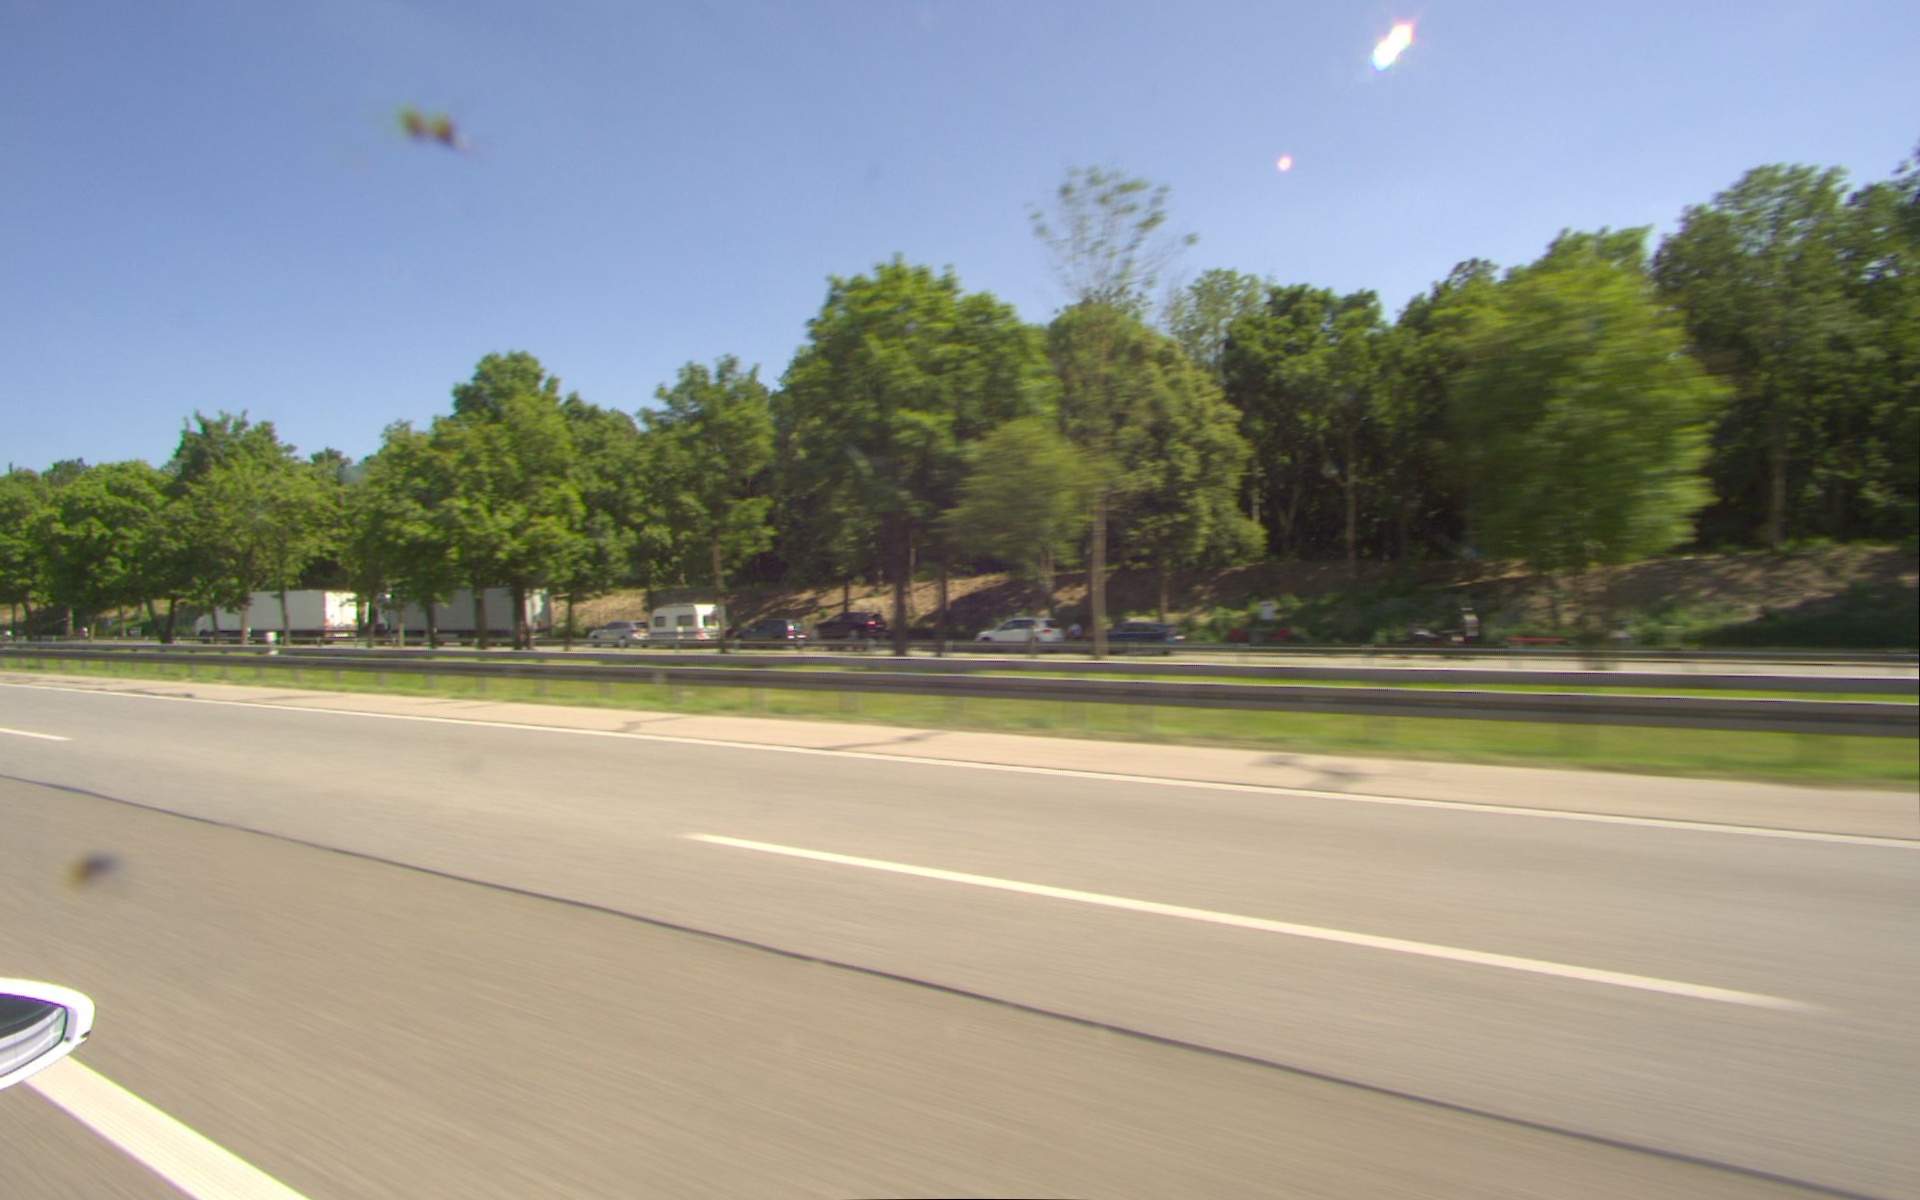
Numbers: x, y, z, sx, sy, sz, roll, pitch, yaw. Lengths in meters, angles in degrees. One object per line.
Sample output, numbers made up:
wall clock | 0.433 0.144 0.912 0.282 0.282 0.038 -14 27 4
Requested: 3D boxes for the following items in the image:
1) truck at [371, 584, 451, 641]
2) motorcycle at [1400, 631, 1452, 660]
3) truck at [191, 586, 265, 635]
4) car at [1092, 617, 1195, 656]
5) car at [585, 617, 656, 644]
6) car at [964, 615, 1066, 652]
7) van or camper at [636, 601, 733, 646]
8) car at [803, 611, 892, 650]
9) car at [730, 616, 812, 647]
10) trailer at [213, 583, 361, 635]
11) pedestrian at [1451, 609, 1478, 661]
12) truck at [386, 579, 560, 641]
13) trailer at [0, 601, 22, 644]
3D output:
truck | -39.691 0.920 72.431 4.758 3.982 2.968 -1 0 28
motorcycle | 17.210 1.676 37.008 1.652 1.044 0.556 0 0 38
truck | -59.609 0.870 81.585 5.062 3.846 2.809 -1 -1 25
car | 7.882 1.536 43.236 3.954 1.594 1.984 -1 -1 41
car | -20.926 1.886 61.607 4.489 1.618 1.653 -1 -1 32
car | 2.570 1.559 47.056 4.587 1.697 1.652 -1 -1 34
van or camper | -16.186 1.369 58.741 5.792 2.564 2.199 -1 -1 33
car | -5.836 1.567 51.782 4.738 1.902 1.650 -1 -1 37
car | -10.431 1.718 55.148 4.429 1.663 1.654 -1 -1 30
trailer | -52.802 0.788 78.359 13.958 3.846 2.858 -1 -1 25
pedestrian | 17.893 1.235 35.541 0.793 1.806 0.636 -1 1 -45
truck | -33.922 0.775 69.391 14.235 3.982 2.994 -1 0 28
trailer | -94.263 2.182 94.723 12.523 3.966 2.575 -1 0 19
